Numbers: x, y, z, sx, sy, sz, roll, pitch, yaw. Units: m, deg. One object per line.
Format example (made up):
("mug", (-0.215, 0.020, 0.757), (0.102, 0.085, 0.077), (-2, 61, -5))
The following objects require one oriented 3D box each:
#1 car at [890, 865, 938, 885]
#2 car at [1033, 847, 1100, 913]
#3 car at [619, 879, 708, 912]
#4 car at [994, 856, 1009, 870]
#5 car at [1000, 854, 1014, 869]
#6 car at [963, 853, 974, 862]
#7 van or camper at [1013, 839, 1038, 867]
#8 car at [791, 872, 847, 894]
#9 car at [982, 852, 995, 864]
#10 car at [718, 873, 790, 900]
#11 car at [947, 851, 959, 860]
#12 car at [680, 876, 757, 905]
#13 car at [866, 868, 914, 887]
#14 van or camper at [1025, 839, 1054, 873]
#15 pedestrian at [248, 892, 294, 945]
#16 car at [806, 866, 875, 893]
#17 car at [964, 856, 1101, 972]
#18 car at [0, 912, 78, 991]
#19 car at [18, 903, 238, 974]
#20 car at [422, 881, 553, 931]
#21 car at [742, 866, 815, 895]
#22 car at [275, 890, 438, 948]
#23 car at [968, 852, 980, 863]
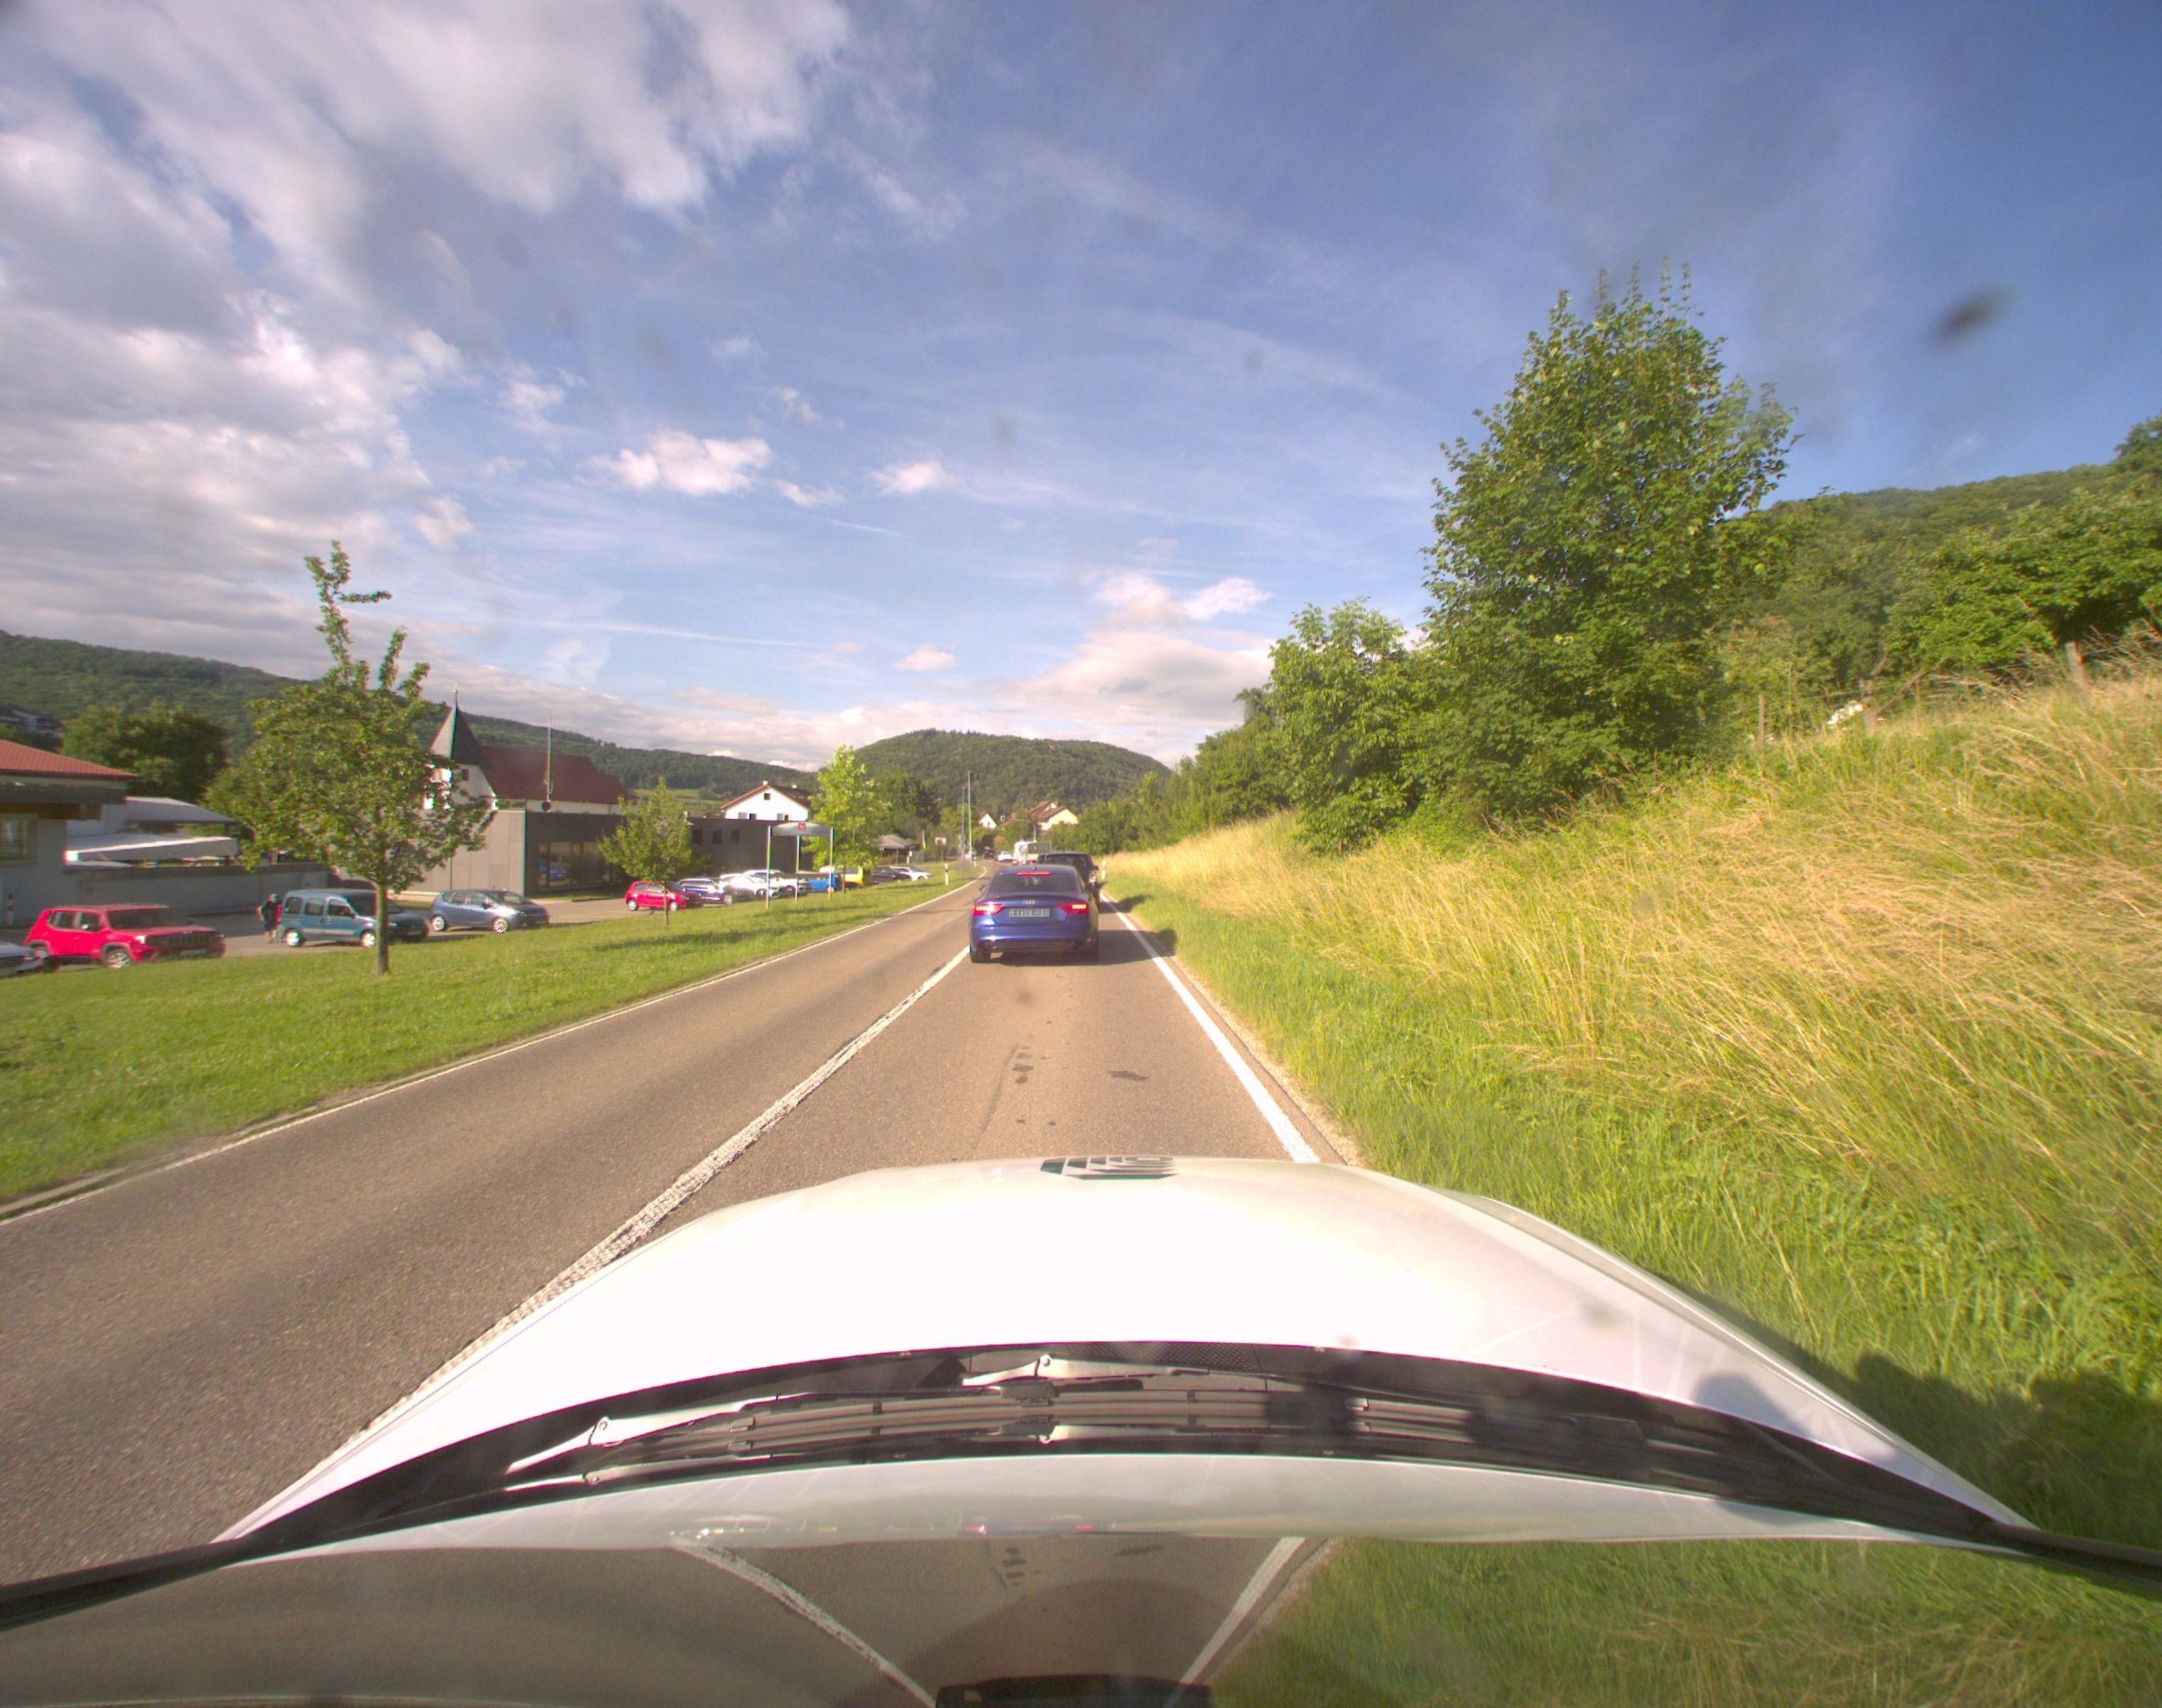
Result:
("car", (-15.383, 1.921, 75.080), (4.011, 1.660, 1.660), (-2, -1, 9))
("car", (-0.440, 0.646, 21.854), (1.642, 1.625, 3.513), (0, 0, -3))
("car", (-20.870, 2.050, 40.760), (3.602, 1.444, 1.653), (-2, -1, 9))
("car", (-11.602, 1.302, 118.912), (1.660, 1.924, 3.984), (-2, 0, -11))
("car", (-10.120, 1.015, 111.503), (1.658, 1.924, 3.989), (-2, 0, -8))
("car", (-23.221, 0.728, 167.800), (1.680, 1.924, 3.978), (-2, 0, -16))
("van or camper", (-5.731, -0.042, 83.571), (2.278, 2.714, 5.753), (-2, 0, -7))
("car", (-18.684, 2.065, 58.198), (3.356, 1.373, 1.661), (-2, -1, 2))
("car", (-15.927, 0.717, 140.576), (1.679, 1.924, 3.980), (-2, 0, -14))
("car", (-19.632, 1.925, 48.912), (3.644, 1.494, 1.601), (-1, -1, 9))
("car", (-28.620, 0.311, 182.117), (1.962, 1.924, 3.972), (-2, 0, -21))
("car", (-20.243, 2.031, 45.569), (3.602, 1.405, 1.601), (-2, -1, 9))
("car", (-16.578, 2.053, 70.825), (3.690, 1.439, 1.513), (-2, -1, 9))
("van or camper", (-3.309, 0.173, 64.054), (2.048, 2.505, 5.801), (-2, 0, -5))
("pedestrian", (-26.508, 2.102, 26.663), (0.791, 1.693, 0.706), (0, -1, 3))
("car", (-17.897, 1.859, 60.730), (4.526, 1.815, 1.846), (-2, -1, 9))
("car", (-0.628, 0.793, 12.408), (1.737, 1.450, 3.516), (-2, 0, 0))
("car", (-25.255, 2.177, 17.857), (4.614, 1.589, 2.005), (-1, 0, 8))
("car", (-24.001, 2.108, 20.580), (3.897, 1.579, 1.760), (-1, 0, 8))
("car", (-22.293, 1.932, 30.665), (3.796, 1.722, 1.736), (-1, -1, 8))
("car", (-19.363, 1.701, 52.258), (4.052, 1.673, 1.601), (-2, -1, 9))
("car", (-23.191, 2.045, 26.139), (3.841, 1.722, 1.759), (0, 0, 6))
("car", (-20.932, 0.676, 158.750), (1.681, 1.924, 3.976), (-2, 0, -17))
